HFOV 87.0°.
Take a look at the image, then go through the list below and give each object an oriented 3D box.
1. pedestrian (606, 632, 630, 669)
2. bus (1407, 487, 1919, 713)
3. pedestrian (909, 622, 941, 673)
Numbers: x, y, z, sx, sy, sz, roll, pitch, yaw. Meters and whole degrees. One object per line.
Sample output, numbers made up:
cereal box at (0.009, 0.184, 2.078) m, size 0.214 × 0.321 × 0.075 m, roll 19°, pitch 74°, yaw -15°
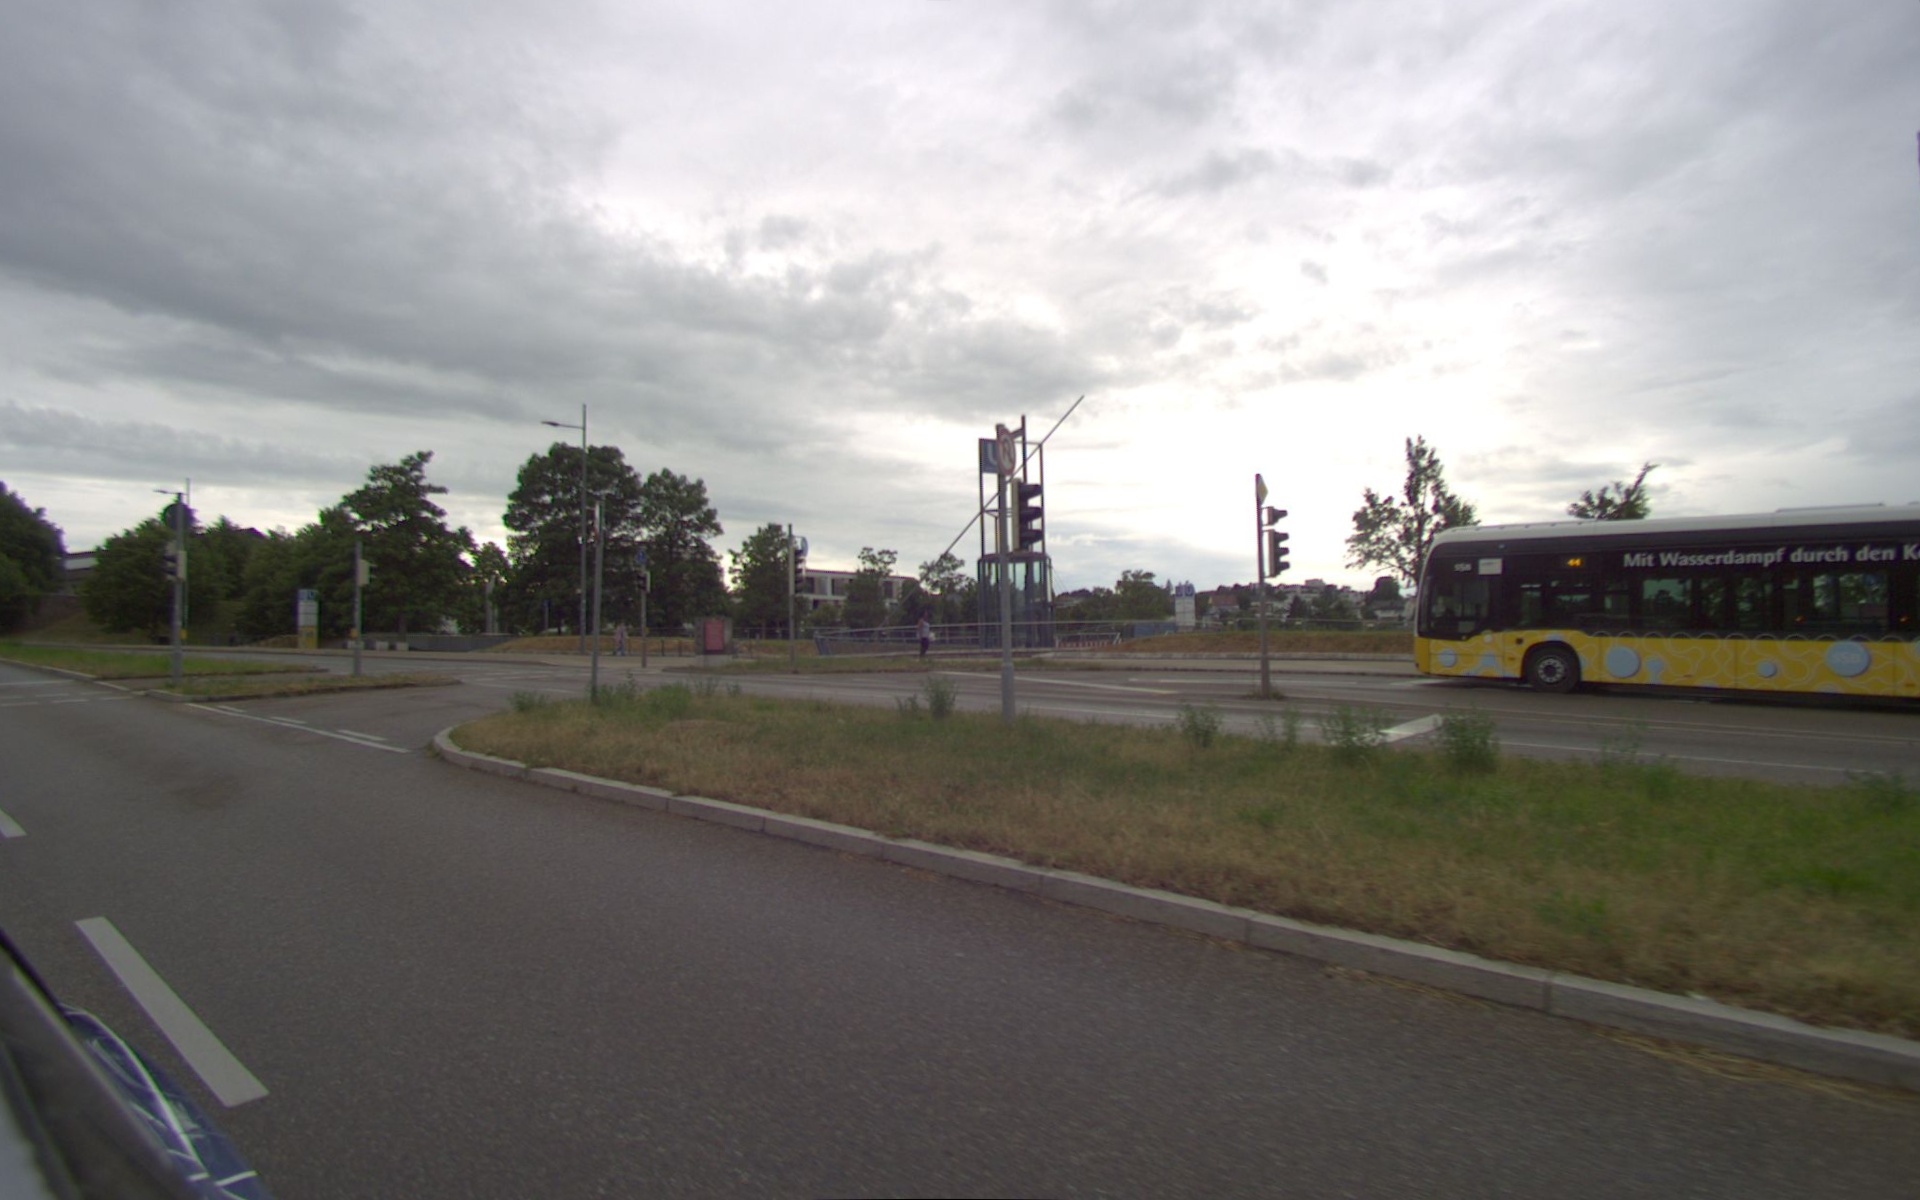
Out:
pedestrian at (-15.157, 2.220, 44.856) m, size 0.811 × 1.606 × 0.608 m, roll -5°, pitch -4°, yaw 37°
bus at (13.911, 0.035, 18.825) m, size 2.787 × 3.499 × 9.988 m, roll 0°, pitch -1°, yaw -41°
pedestrian at (-1.133, 1.529, 32.745) m, size 0.670 × 1.606 × 0.815 m, roll -4°, pitch -4°, yaw 25°
